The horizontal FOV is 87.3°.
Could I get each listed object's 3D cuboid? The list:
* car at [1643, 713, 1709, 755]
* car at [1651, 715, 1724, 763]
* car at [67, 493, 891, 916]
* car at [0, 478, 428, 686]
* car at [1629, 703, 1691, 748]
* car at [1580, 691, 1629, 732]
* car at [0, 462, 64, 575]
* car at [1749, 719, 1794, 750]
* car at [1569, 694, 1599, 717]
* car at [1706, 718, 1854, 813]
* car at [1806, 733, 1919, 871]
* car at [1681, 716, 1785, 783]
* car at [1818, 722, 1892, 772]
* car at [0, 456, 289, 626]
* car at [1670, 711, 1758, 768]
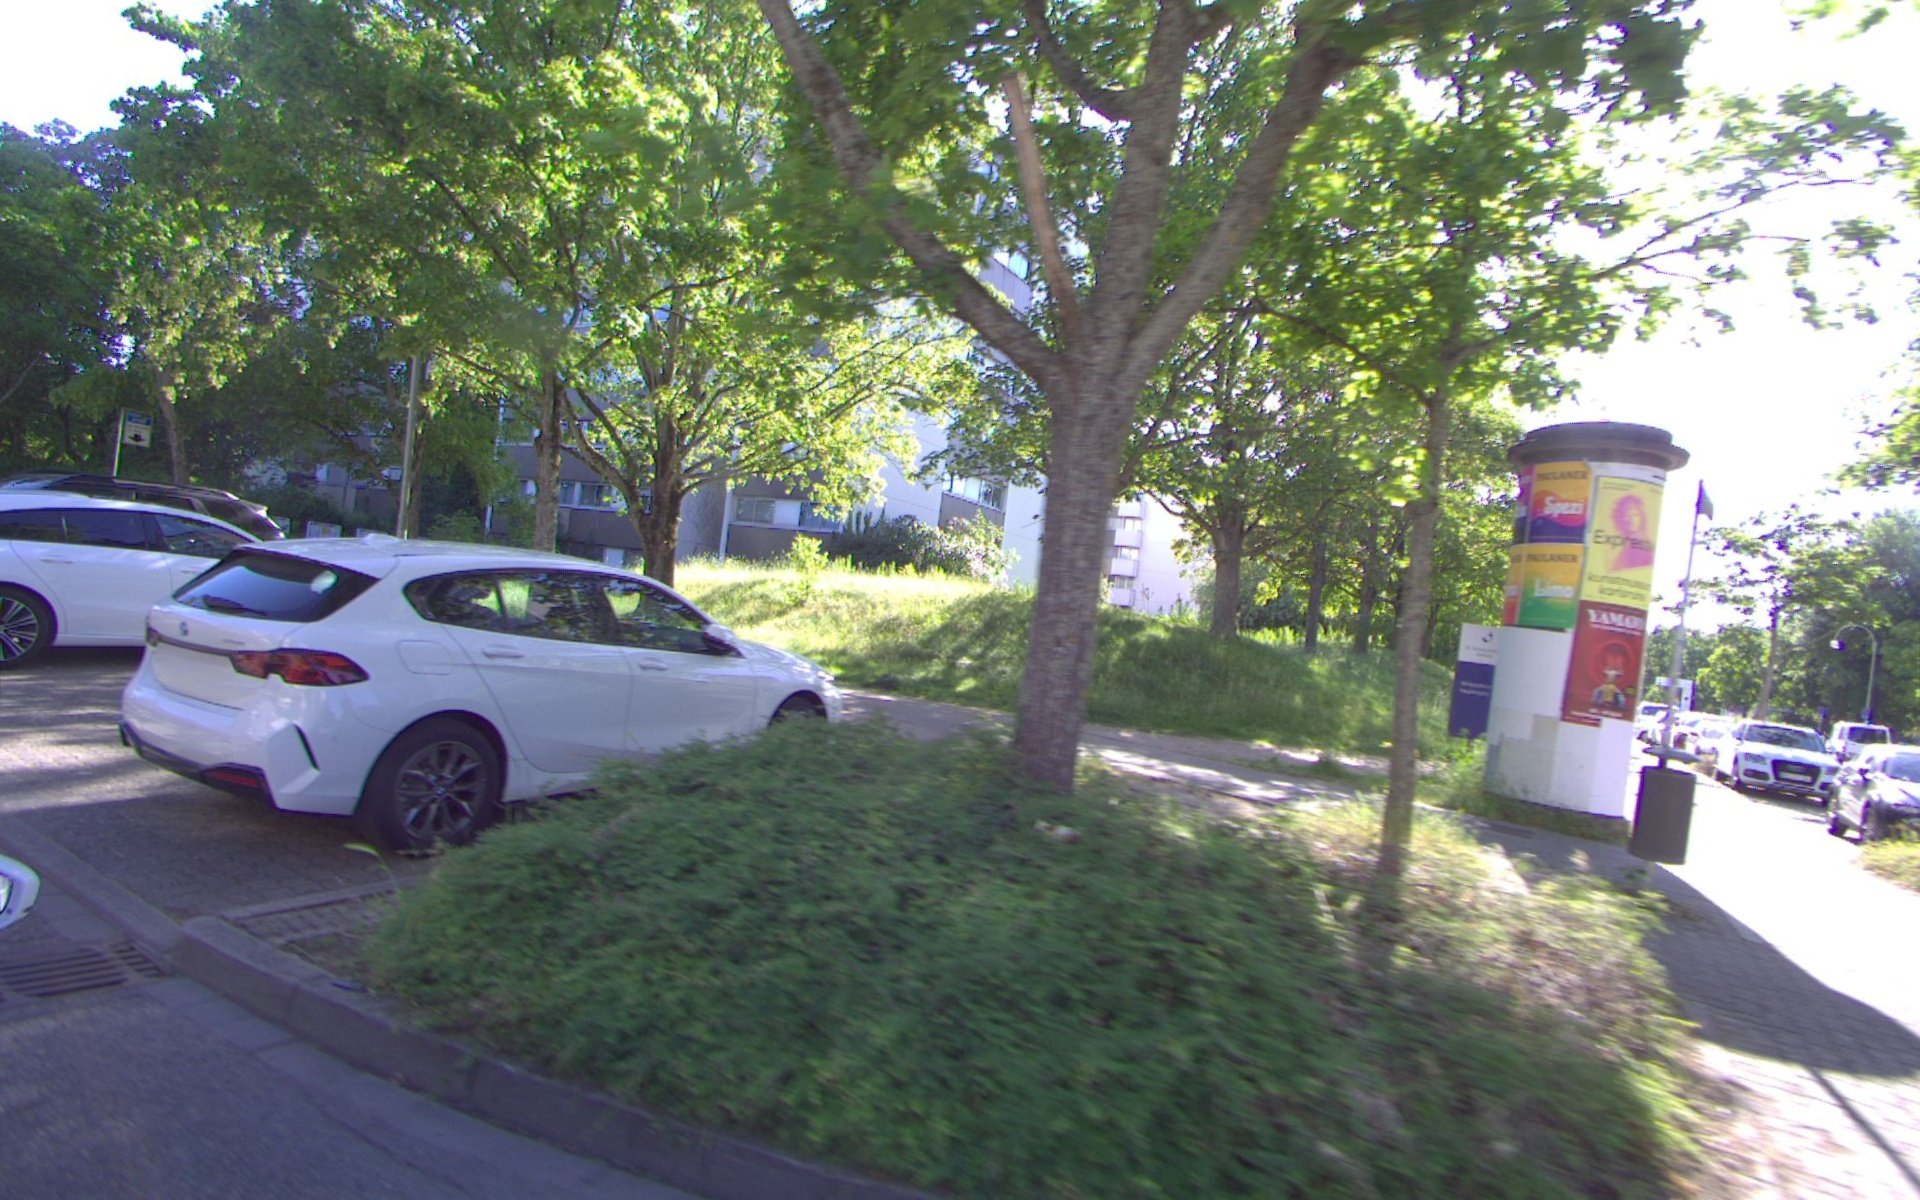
[{"bbox_3d":[31.771,5.902,44.755,1.889,1.463,3.995,7,-2,31],"label":"car"},{"bbox_3d":[28.707,5.454,39.817,1.804,1.493,4.014,7,-2,30],"label":"car"},{"bbox_3d":[-2.464,0.465,6.409,1.805,1.613,4.431,7,1,29],"label":"car"},{"bbox_3d":[-7.643,-0.141,9.307,1.786,1.563,4.453,7,-2,29],"label":"car"},{"bbox_3d":[34.570,6.162,49.814,1.966,1.820,4.445,7,-2,30],"label":"car"},{"bbox_3d":[38.174,6.579,59.689,1.966,2.037,3.996,7,-1,29],"label":"car"},{"bbox_3d":[-17.474,-1.544,15.853,1.967,1.802,4.590,7,1,32],"label":"car"},{"bbox_3d":[62.148,10.277,77.089,1.967,1.895,3.995,7,-1,31],"label":"car"},{"bbox_3d":[63.811,10.748,102.953,1.965,2.037,3.999,7,-1,26],"label":"car"},{"bbox_3d":[18.835,3.724,23.323,1.804,1.637,4.454,7,-2,30],"label":"car"},{"bbox_3d":[13.719,2.887,14.269,1.804,1.549,3.994,7,-1,30],"label":"car"},{"bbox_3d":[22.916,4.378,29.981,1.804,1.519,4.014,7,-2,30],"label":"car"},{"bbox_3d":[48.133,7.873,54.187,1.966,2.206,3.996,7,-1,30],"label":"car"},{"bbox_3d":[-10.102,-0.667,11.076,1.704,1.638,4.123,6,0,30],"label":"car"},{"bbox_3d":[25.858,4.733,34.623,1.804,1.561,4.014,7,-2,30],"label":"car"}]
